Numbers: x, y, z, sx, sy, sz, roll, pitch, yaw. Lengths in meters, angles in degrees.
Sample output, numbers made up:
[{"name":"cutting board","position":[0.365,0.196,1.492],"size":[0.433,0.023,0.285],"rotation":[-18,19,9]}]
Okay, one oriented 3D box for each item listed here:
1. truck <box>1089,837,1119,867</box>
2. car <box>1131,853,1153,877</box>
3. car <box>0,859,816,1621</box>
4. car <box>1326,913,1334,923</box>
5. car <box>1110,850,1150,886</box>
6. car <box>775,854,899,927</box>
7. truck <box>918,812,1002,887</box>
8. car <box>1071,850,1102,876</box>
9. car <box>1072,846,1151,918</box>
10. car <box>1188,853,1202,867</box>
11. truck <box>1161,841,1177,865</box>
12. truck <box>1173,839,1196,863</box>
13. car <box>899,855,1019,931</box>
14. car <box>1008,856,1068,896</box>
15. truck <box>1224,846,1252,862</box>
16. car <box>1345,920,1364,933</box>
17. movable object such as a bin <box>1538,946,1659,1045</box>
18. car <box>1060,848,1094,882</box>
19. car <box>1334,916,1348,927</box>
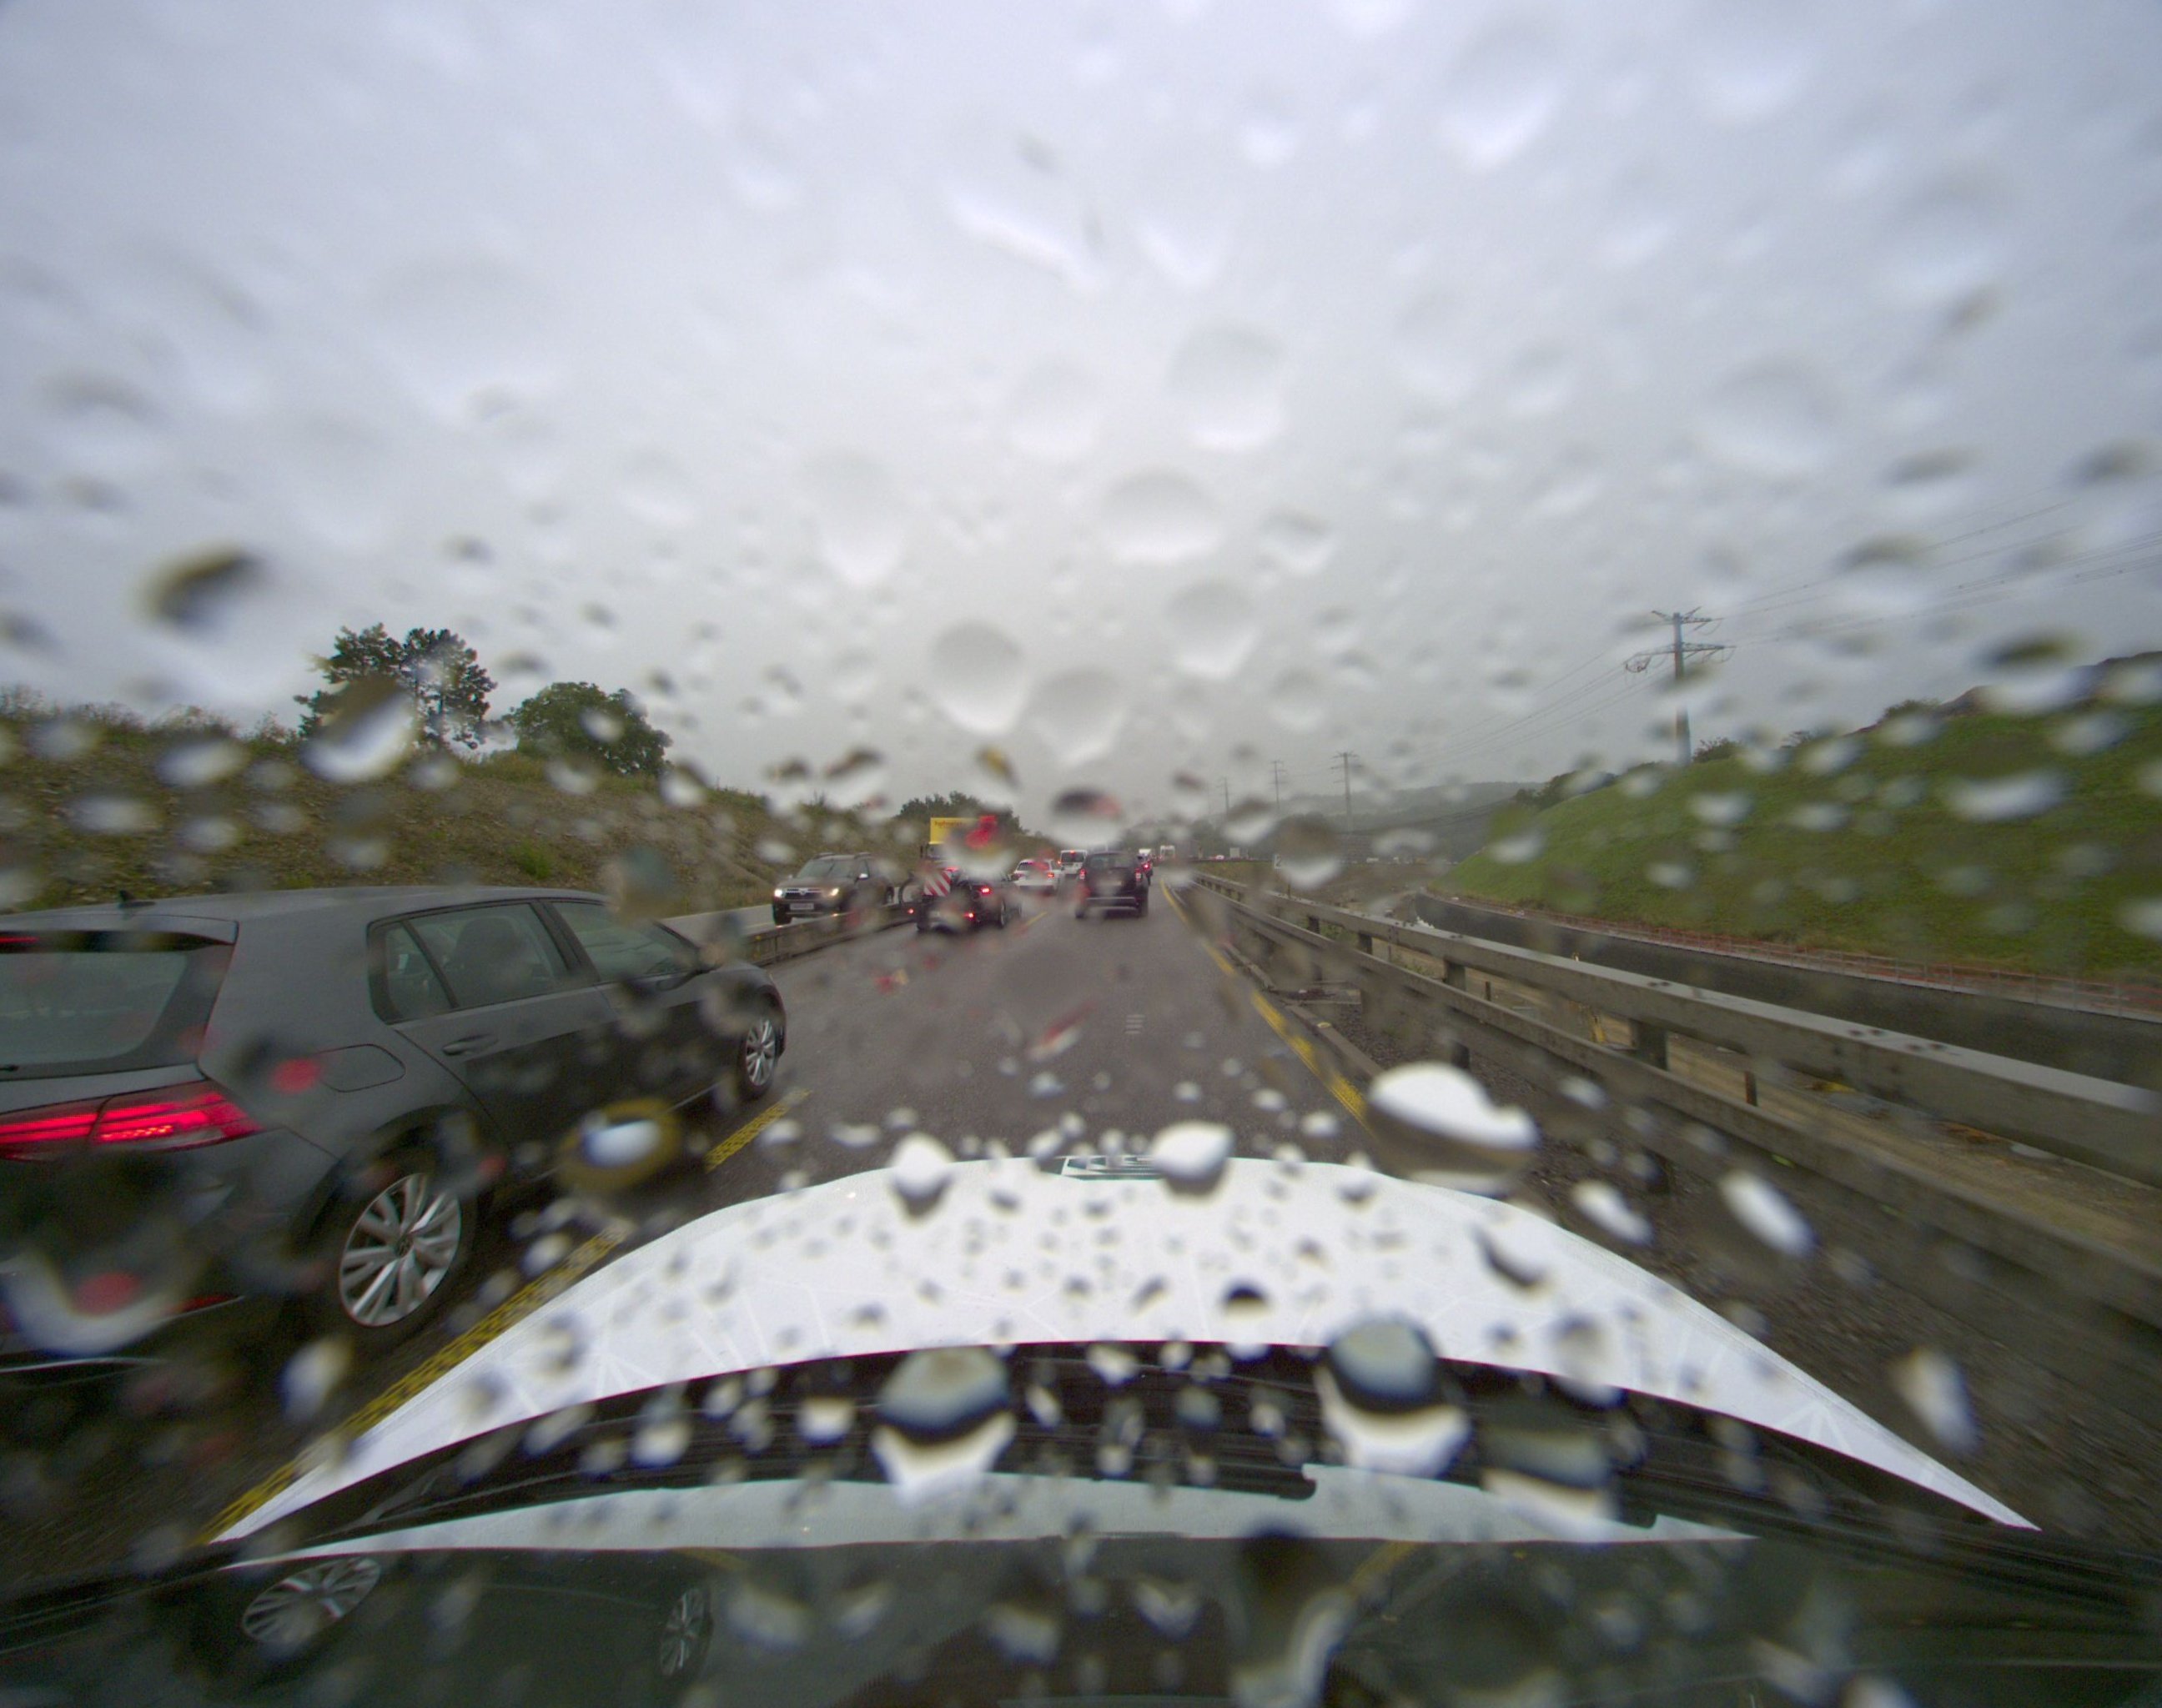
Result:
[{"name":"truck","position":[3.436,-0.277,118.640],"size":[2.917,4.097,14.421],"rotation":[0,0,8]},{"name":"car","position":[4.353,0.736,58.367],"size":[1.523,1.640,4.017],"rotation":[0,0,4]},{"name":"car","position":[-2.854,0.826,3.840],"size":[1.608,1.506,4.370],"rotation":[-3,0,2]},{"name":"car","position":[59.593,15.349,194.876],"size":[1.978,2.013,4.018],"rotation":[0,0,18]},{"name":"car","position":[2.467,0.664,40.748],"size":[1.859,1.708,4.004],"rotation":[0,0,4]},{"name":"car","position":[-5.773,0.807,19.803],"size":[1.754,1.597,4.000],"rotation":[0,0,1]},{"name":"truck","position":[-6.972,-0.244,48.187],"size":[2.754,3.996,8.438],"rotation":[-1,0,7]},{"name":"car","position":[0.405,0.594,56.966],"size":[1.859,1.708,4.097],"rotation":[0,0,5]},{"name":"car","position":[0.859,0.663,20.935],"size":[1.796,1.646,3.781],"rotation":[-1,0,4]},{"name":"car","position":[15.392,0.762,109.729],"size":[1.765,1.916,4.009],"rotation":[0,0,8]},{"name":"truck","position":[11.648,-0.137,107.694],"size":[2.138,3.166,6.471],"rotation":[0,0,6]},{"name":"truck","position":[16.958,-0.427,132.754],"size":[3.181,3.761,8.533],"rotation":[0,0,10]},{"name":"car","position":[-2.546,0.778,17.892],"size":[1.821,1.476,3.780],"rotation":[-1,0,3]},{"name":"car","position":[-1.653,0.823,32.662],"size":[1.859,1.460,4.553],"rotation":[0,0,4]},{"name":"truck","position":[42.115,0.059,217.779],"size":[4.677,4.150,15.763],"rotation":[0,0,21]},{"name":"car","position":[49.729,13.242,148.268],"size":[2.354,2.013,4.005],"rotation":[0,0,5]},{"name":"movable object such as a bin","position":[24.633,6.650,39.018],"size":[3.201,3.867,4.125],"rotation":[1,1,2]},{"name":"car","position":[-0.190,0.592,46.176],"size":[1.653,1.880,4.024],"rotation":[0,0,4]},{"name":"car","position":[52.846,13.674,165.584],"size":[1.983,1.816,4.008],"rotation":[-1,0,7]}]
